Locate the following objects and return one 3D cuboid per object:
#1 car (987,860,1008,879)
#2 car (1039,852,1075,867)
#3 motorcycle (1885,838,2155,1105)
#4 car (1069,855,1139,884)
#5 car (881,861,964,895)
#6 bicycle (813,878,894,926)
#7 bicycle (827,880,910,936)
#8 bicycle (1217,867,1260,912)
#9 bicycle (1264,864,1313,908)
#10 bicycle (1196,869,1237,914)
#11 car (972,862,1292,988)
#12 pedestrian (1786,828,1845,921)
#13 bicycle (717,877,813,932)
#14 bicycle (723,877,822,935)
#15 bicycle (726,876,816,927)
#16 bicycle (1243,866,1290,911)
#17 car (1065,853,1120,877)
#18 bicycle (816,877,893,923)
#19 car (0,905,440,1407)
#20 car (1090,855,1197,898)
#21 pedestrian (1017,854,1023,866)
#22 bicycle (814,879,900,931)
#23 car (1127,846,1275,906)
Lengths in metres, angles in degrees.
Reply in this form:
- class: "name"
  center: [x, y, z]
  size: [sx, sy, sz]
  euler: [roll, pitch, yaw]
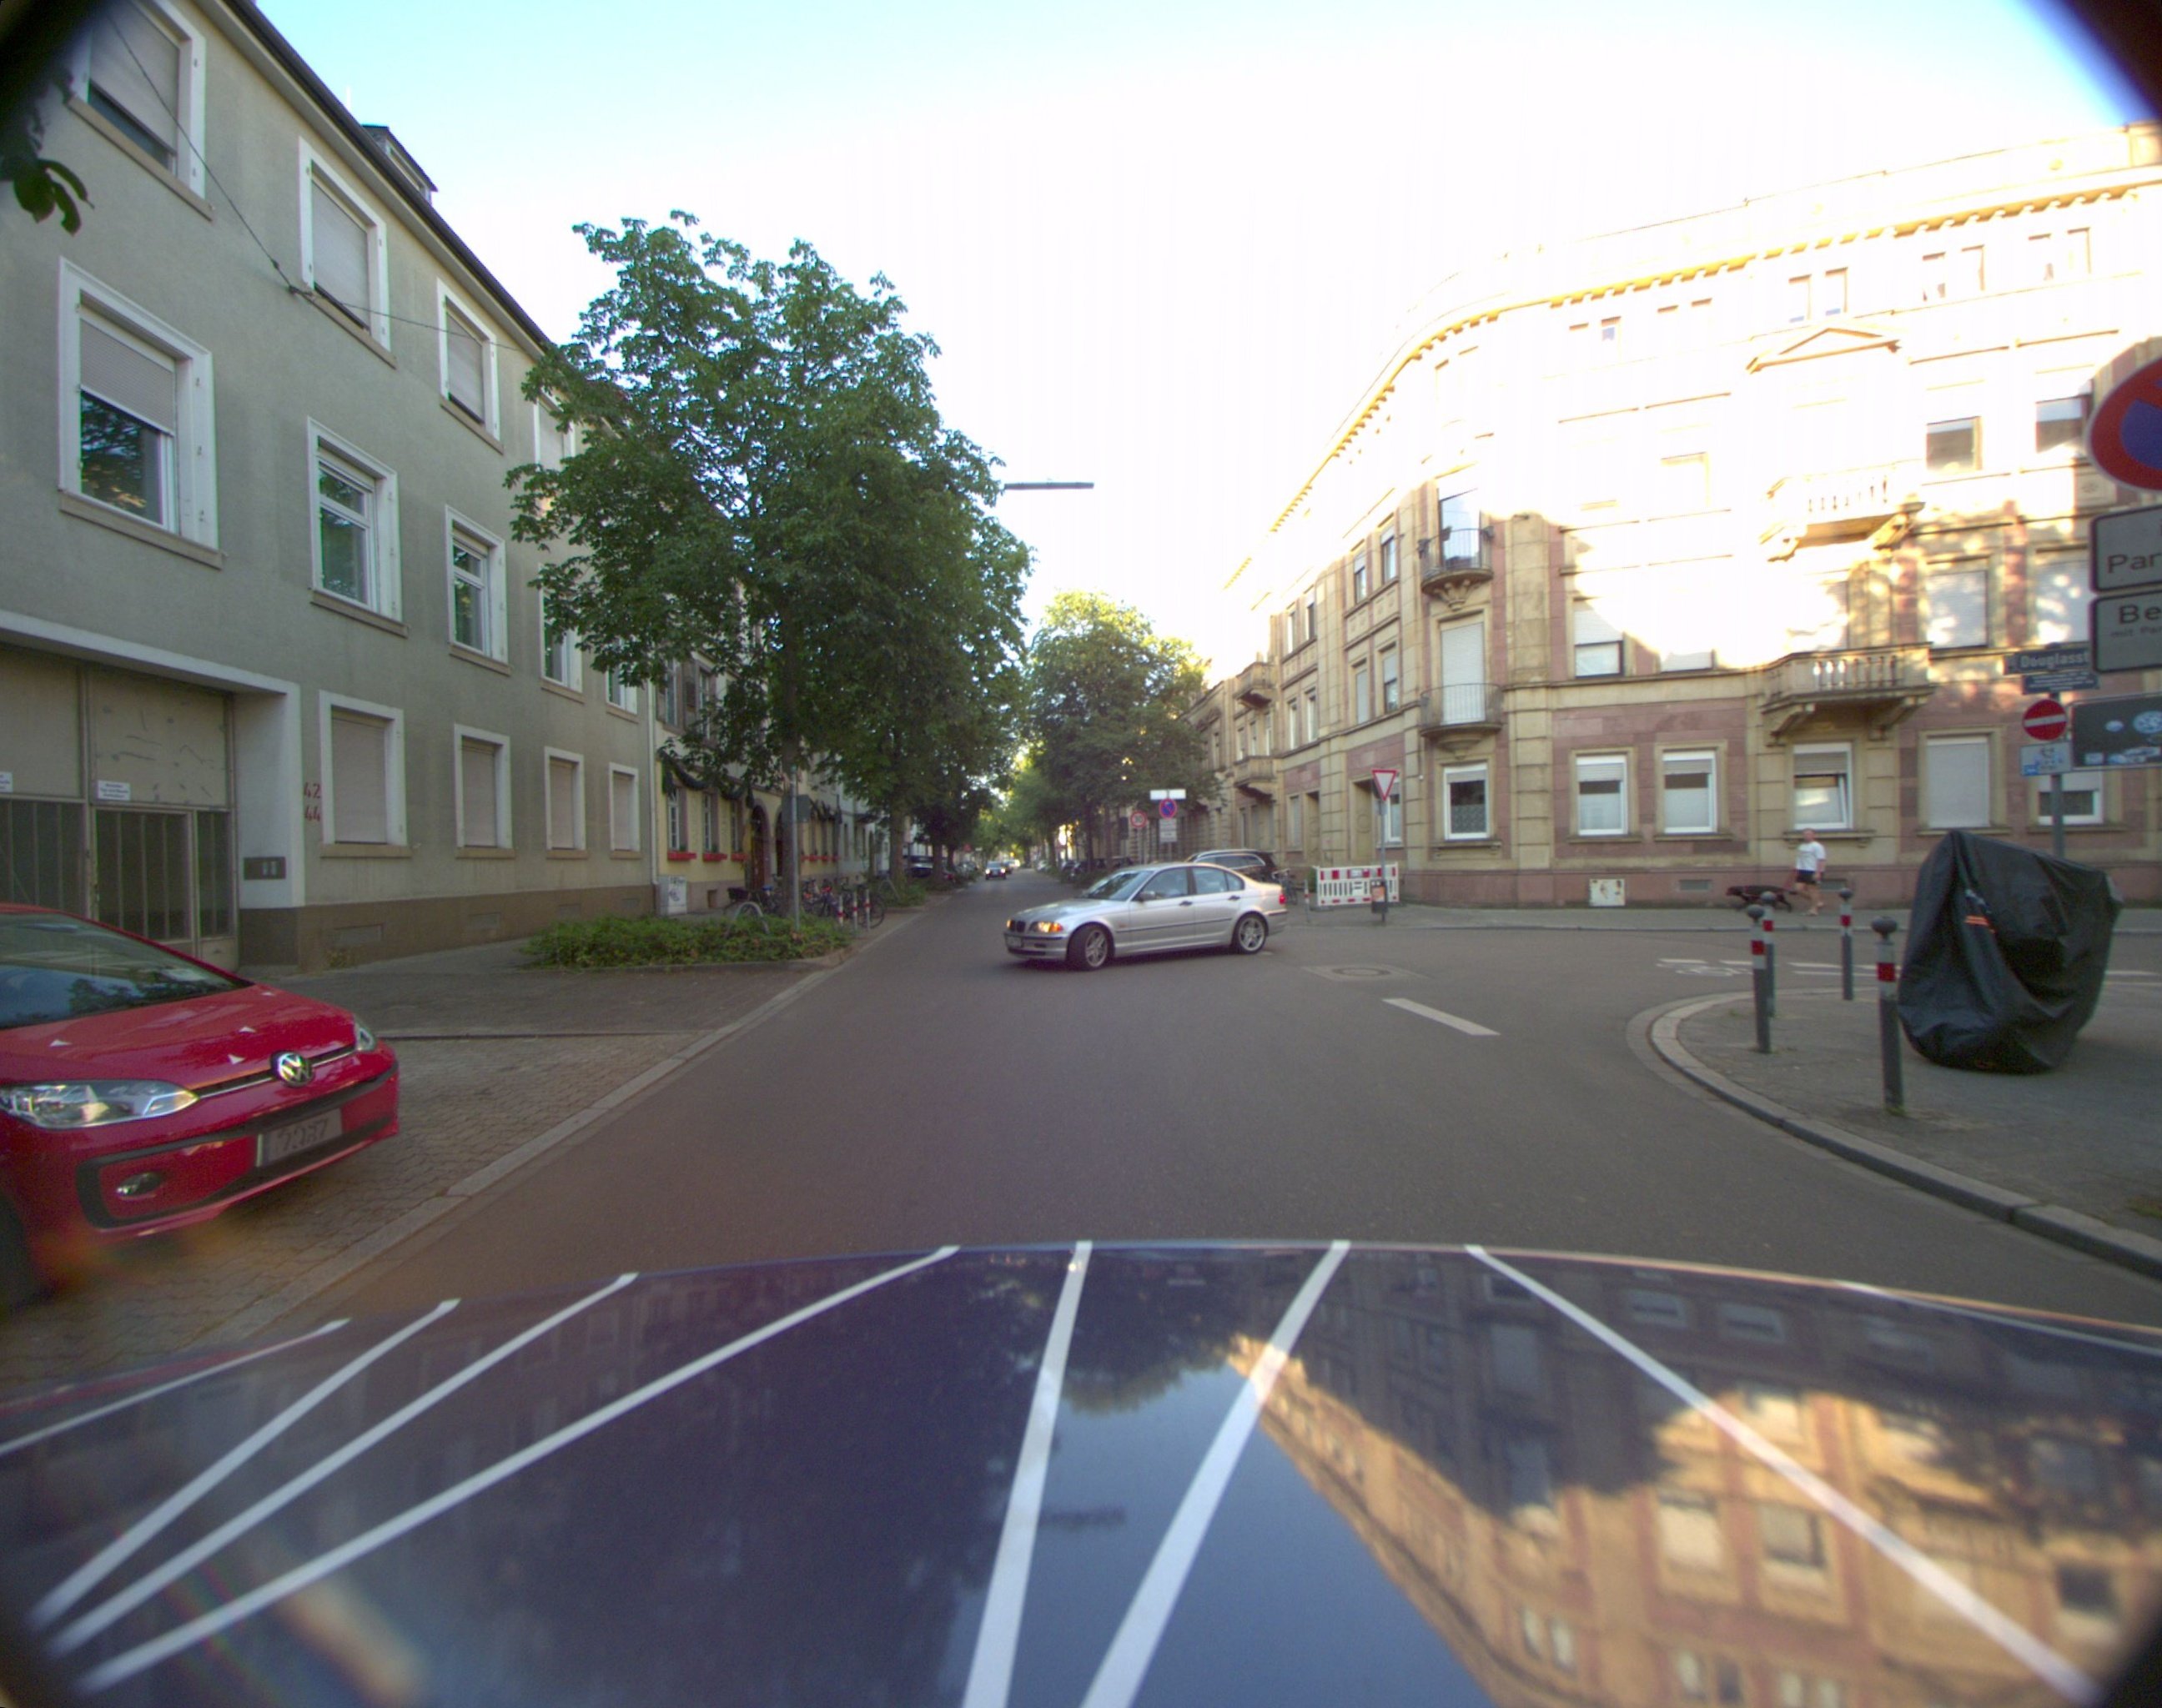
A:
- class: "car"
  center: [-7.409, 1.329, 67.339]
  size: [1.807, 1.543, 3.998]
  euler: [-1, 0, -6]
- class: "car"
  center: [-2.927, 0.689, 92.140]
  size: [4.245, 1.749, 1.741]
  euler: [-1, 0, -4]
- class: "motorcycle"
  center: [6.514, 0.661, 5.238]
  size: [2.286, 1.496, 0.816]
  euler: [-1, 1, -30]
- class: "car"
  center: [1.429, 0.951, 47.982]
  size: [4.245, 1.749, 1.741]
  euler: [-1, 0, -4]
- class: "car"
  center: [-8.535, 1.282, 41.272]
  size: [4.245, 1.729, 1.741]
  euler: [-1, 0, -6]
- class: "bicycle"
  center: [-6.108, 1.288, 20.521]
  size: [2.029, 1.220, 0.535]
  euler: [-1, 0, -11]
- class: "bicycle"
  center: [-5.018, 1.256, 18.000]
  size: [1.849, 1.220, 0.535]
  euler: [-1, 0, -16]
- class: "bicycle"
  center: [4.401, 0.969, 21.330]
  size: [0.562, 1.144, 2.038]
  euler: [-2, 0, -6]
- class: "bicycle"
  center: [5.813, 0.865, 21.421]
  size: [0.562, 1.144, 2.038]
  euler: [-2, 0, -8]
- class: "bicycle"
  center: [3.762, 1.014, 21.261]
  size: [0.562, 1.144, 2.038]
  euler: [-2, 0, -6]
- class: "car"
  center: [0.821, 0.899, 11.166]
  size: [4.442, 1.433, 1.709]
  euler: [-1, 0, -29]
- class: "pedestrian"
  center: [14.471, 0.395, 14.990]
  size: [0.650, 1.797, 0.574]
  euler: [0, 1, 18]
- class: "bicycle"
  center: [-7.475, 1.185, 18.053]
  size: [2.030, 1.220, 0.535]
  euler: [-1, 0, -16]
- class: "bicycle"
  center: [-7.015, 1.174, 17.351]
  size: [2.030, 1.220, 0.535]
  euler: [-1, 0, -16]
- class: "bicycle"
  center: [-7.796, 1.185, 19.199]
  size: [2.029, 1.220, 0.535]
  euler: [-1, 0, -13]
- class: "bicycle"
  center: [5.194, 0.945, 21.371]
  size: [0.562, 1.144, 2.038]
  euler: [-2, 0, -8]
- class: "car"
  center: [0.882, 0.862, 60.452]
  size: [4.245, 1.749, 1.741]
  euler: [-1, 0, -4]
- class: "bicycle"
  center: [-6.350, 1.288, 21.391]
  size: [2.029, 1.220, 0.535]
  euler: [-1, 0, -11]
- class: "car"
  center: [-5.145, 1.042, 3.010]
  size: [3.621, 1.468, 1.663]
  euler: [-1, 0, -7]
- class: "car"
  center: [2.549, 0.918, 31.689]
  size: [4.243, 1.668, 1.742]
  euler: [-1, 0, -1]
- class: "pedestrian"
  center: [-9.899, 0.996, 122.885]
  size: [0.811, 1.825, 0.840]
  euler: [-1, 0, 0]
- class: "bicycle"
  center: [-5.642, 1.283, 19.240]
  size: [2.029, 1.220, 0.535]
  euler: [-1, 0, -11]
- class: "car"
  center: [3.743, 0.666, 24.239]
  size: [4.422, 1.771, 1.742]
  euler: [-1, 0, -1]
